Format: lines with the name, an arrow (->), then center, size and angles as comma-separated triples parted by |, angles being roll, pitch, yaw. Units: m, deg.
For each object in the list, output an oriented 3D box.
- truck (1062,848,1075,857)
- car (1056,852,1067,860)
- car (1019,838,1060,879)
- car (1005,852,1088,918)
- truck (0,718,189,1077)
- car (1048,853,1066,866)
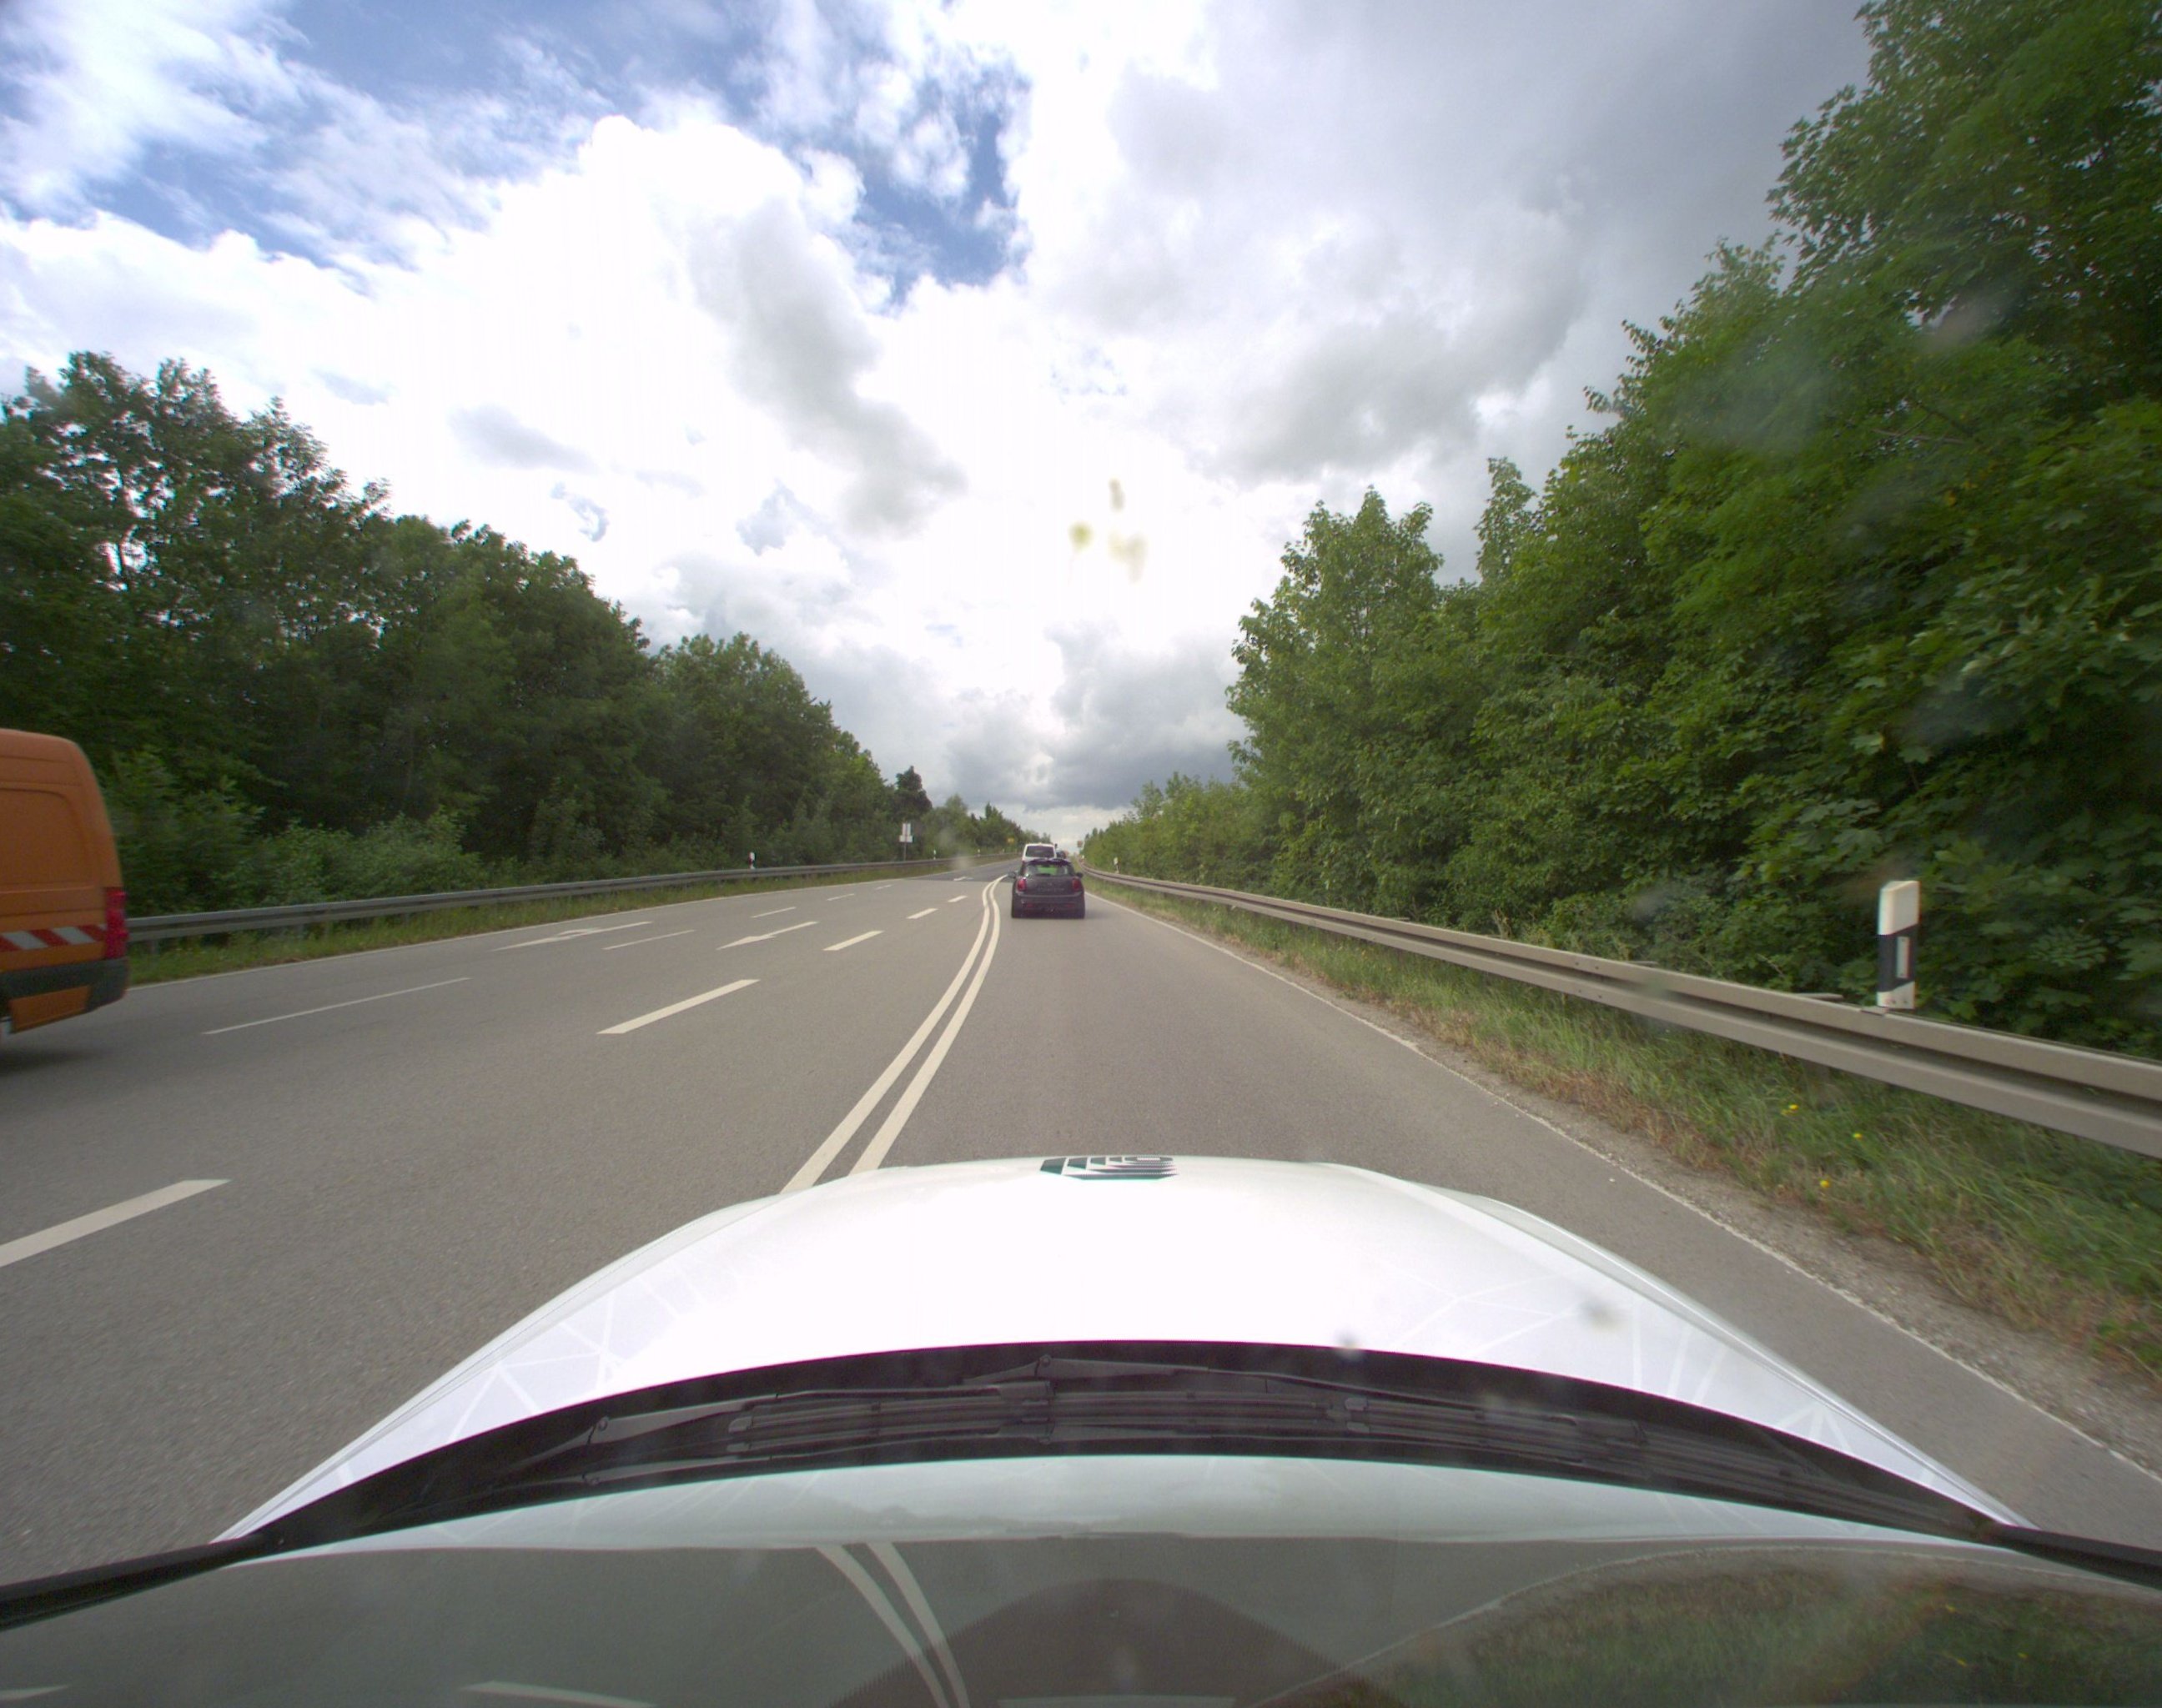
truck -> -3.272, -0.464, 216.818 | 2.900, 2.372, 10.452 | -1, 0, 1
car -> -3.184, 0.365, 134.283 | 1.688, 1.319, 4.001 | 0, 1, 1
car -> -2.185, 0.215, 42.261 | 2.018, 2.013, 3.994 | 0, 0, -4
car -> -0.962, 0.700, 20.573 | 1.731, 1.455, 3.989 | 0, 0, -8
truck -> -9.101, 0.345, 4.108 | 2.306, 2.601, 6.029 | -1, 1, 4
car -> -2.351, 0.532, 79.833 | 1.689, 1.222, 3.999 | 0, 0, 0
